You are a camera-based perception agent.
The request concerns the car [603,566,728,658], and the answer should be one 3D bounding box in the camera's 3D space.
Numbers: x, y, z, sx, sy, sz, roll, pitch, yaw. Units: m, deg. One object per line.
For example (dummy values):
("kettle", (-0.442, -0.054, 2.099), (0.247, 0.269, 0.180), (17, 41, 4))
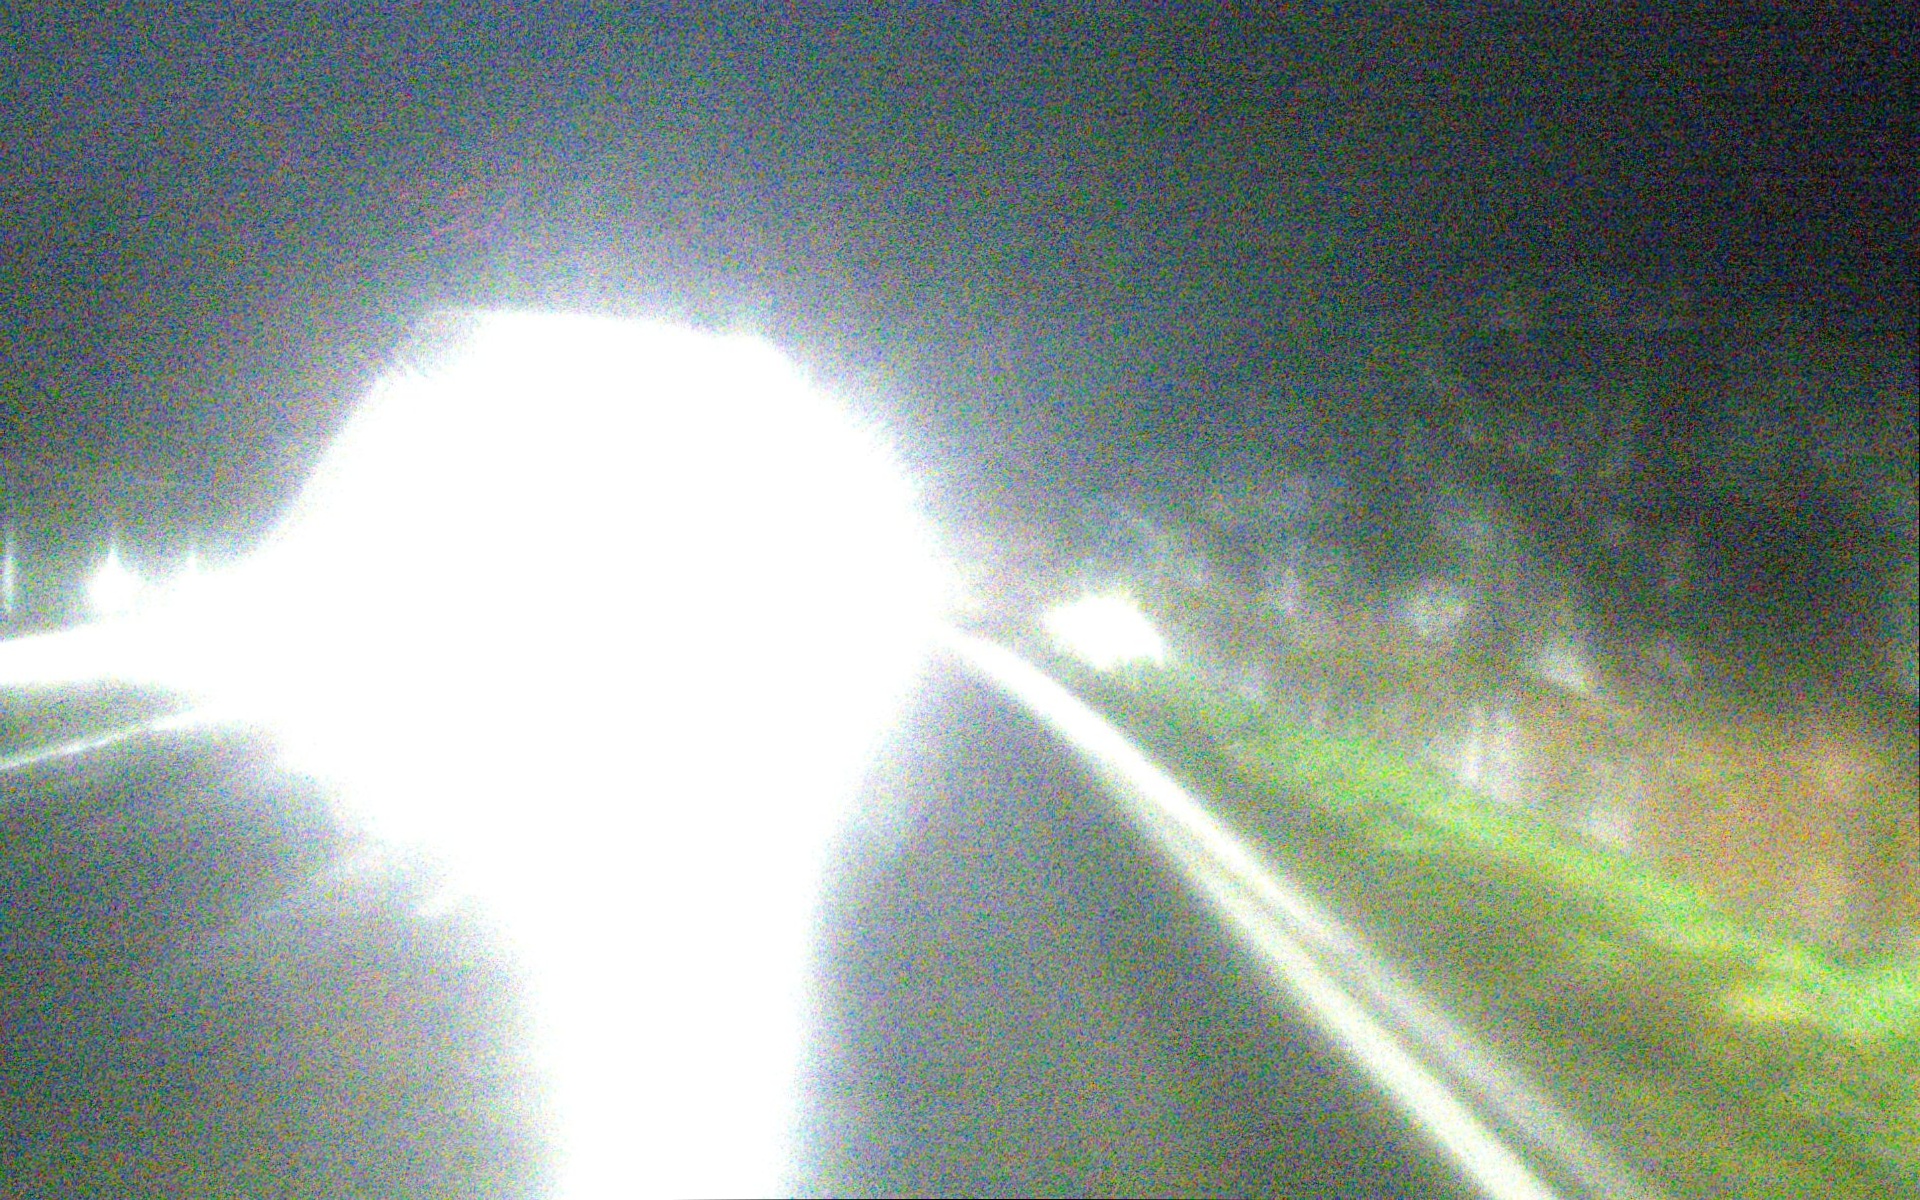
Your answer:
("car", (-5.245, 0.187, 61.664), (1.993, 1.495, 4.001), (0, 2, -1))
